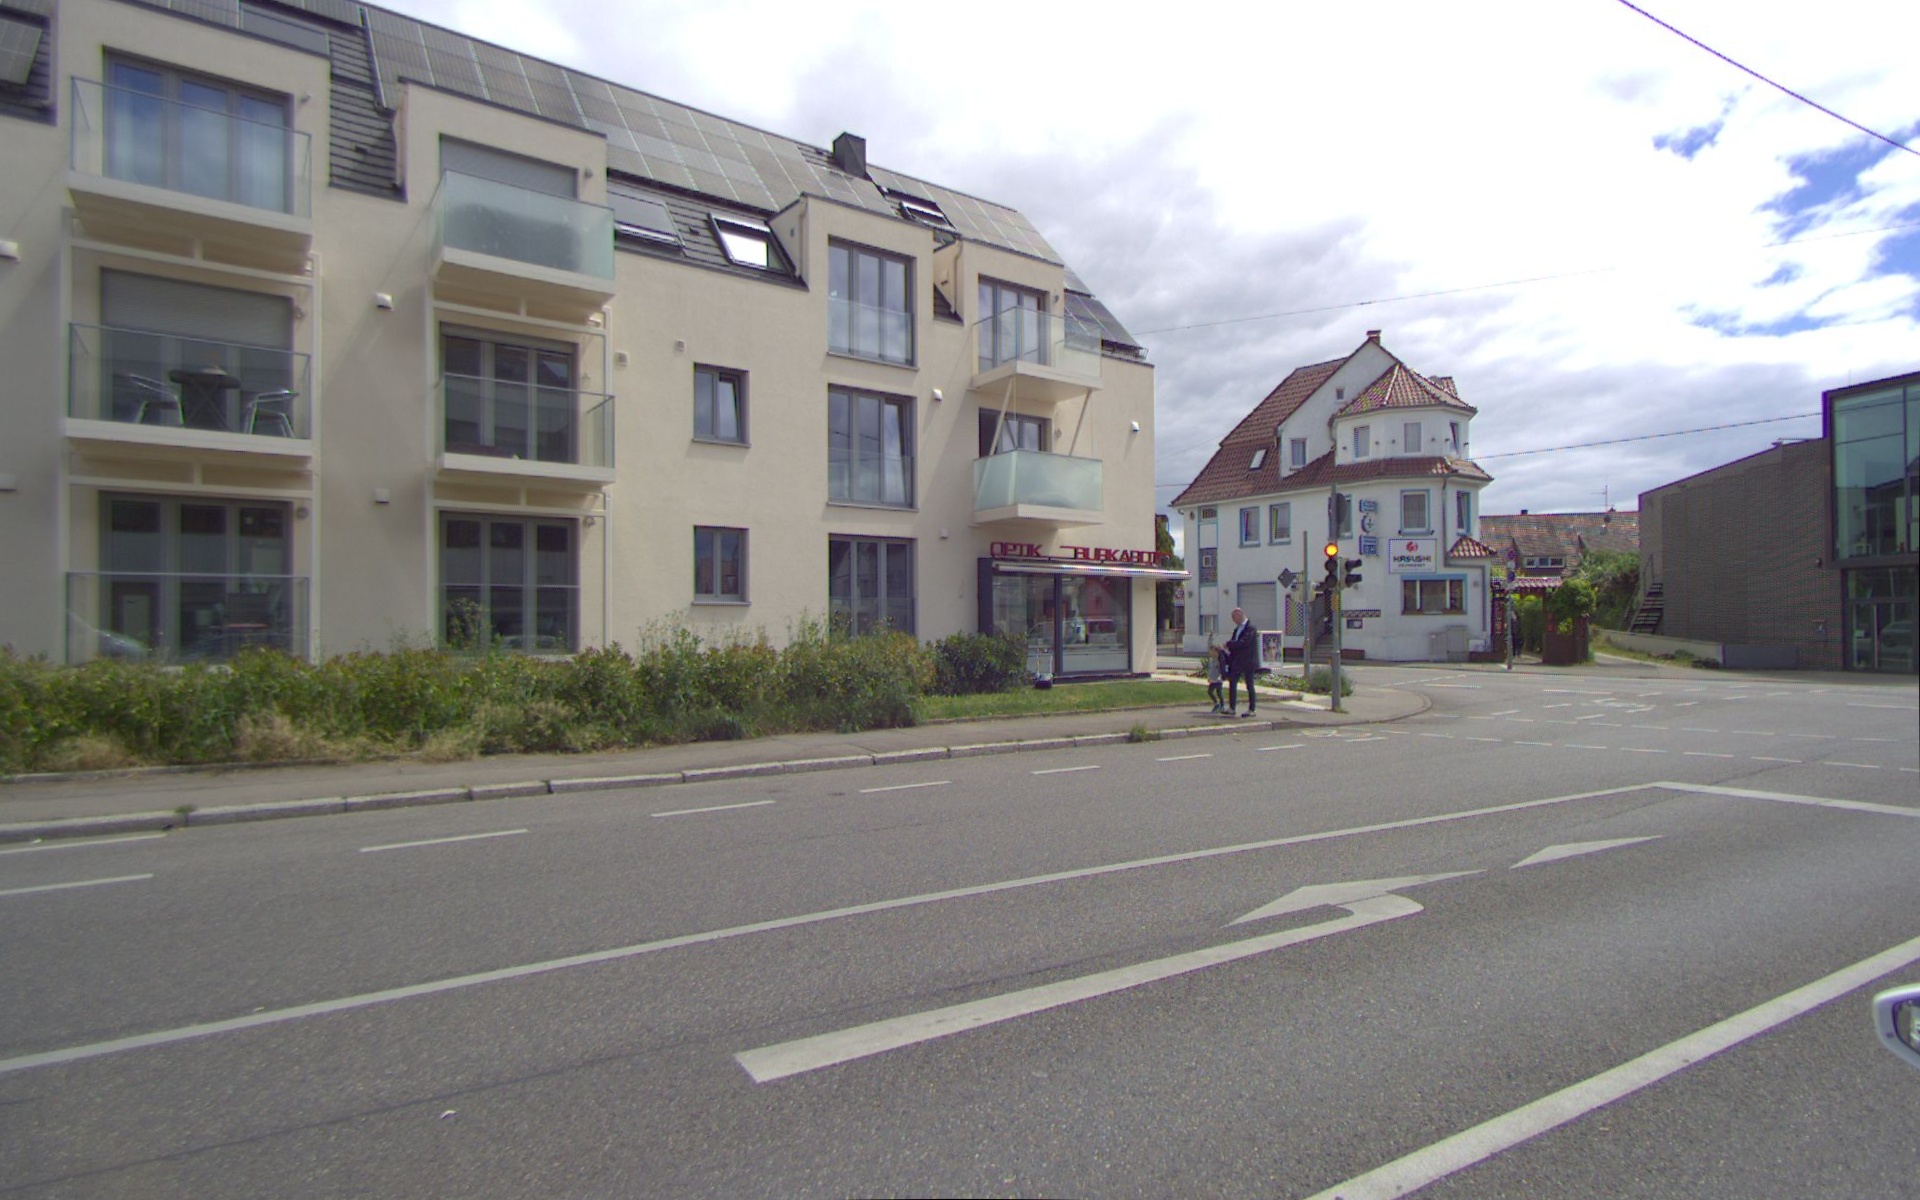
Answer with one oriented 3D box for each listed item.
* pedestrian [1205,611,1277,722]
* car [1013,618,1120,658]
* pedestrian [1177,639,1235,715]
[{"bbox_3d":[4.588,1.064,16.427,0.817,1.744,0.809,1,-1,-36],"label":"pedestrian"},{"bbox_3d":[4.362,1.535,41.692,1.879,1.475,4.468,1,0,-36],"label":"car"},{"bbox_3d":[4.172,1.279,17.016,0.729,1.238,0.639,1,-1,-36],"label":"pedestrian"}]
